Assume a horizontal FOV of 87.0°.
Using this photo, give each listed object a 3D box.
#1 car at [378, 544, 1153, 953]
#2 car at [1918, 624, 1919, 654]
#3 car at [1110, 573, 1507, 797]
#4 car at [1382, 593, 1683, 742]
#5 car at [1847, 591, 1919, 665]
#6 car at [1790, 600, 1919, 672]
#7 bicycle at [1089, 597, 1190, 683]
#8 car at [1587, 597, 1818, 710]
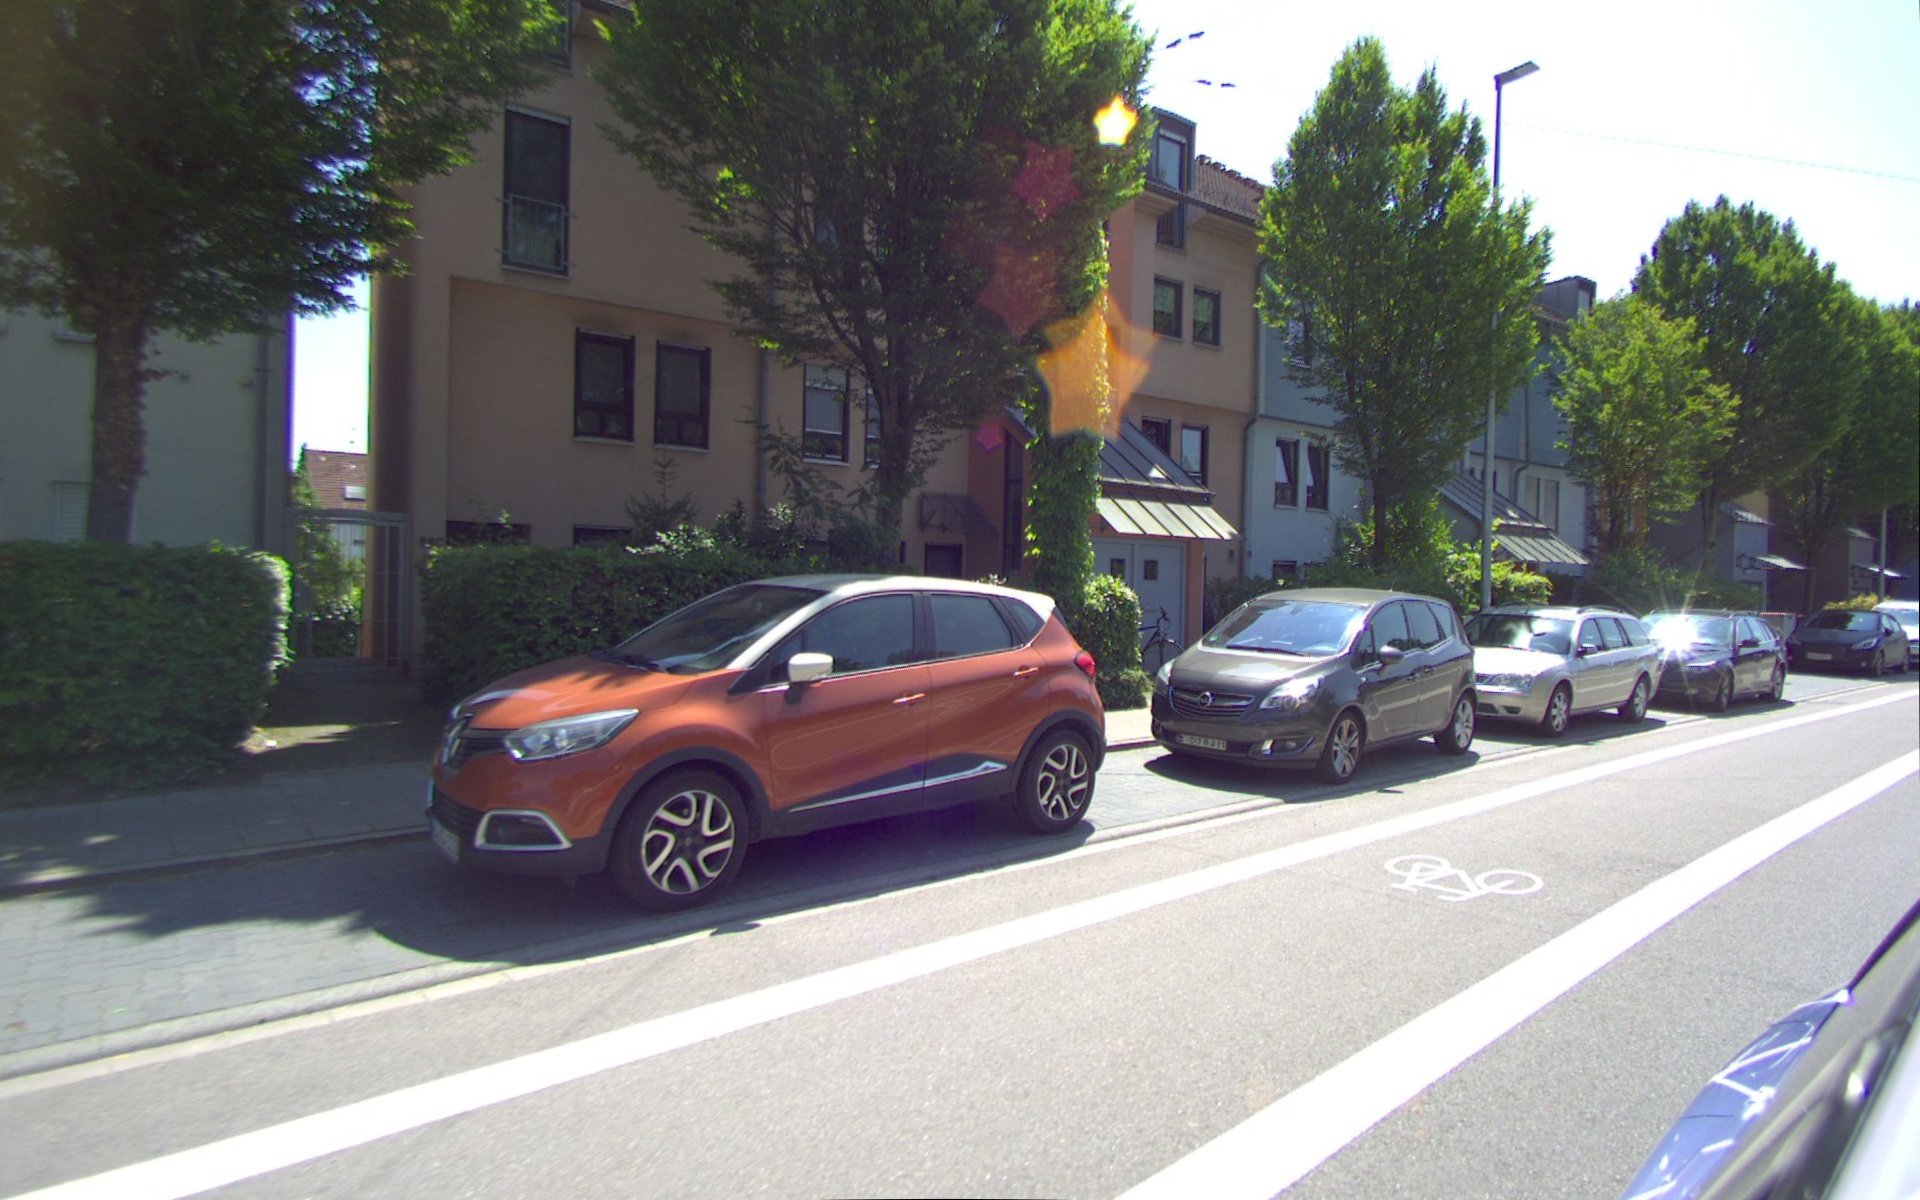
[{"bbox_3d":[-0.877,0.568,6.055,4.249,1.581,1.710,1,3,-42],"label":"car"},{"bbox_3d":[30.365,0.760,30.105,4.271,1.816,1.848,1,3,-35],"label":"car"},{"bbox_3d":[3.445,0.619,9.550,4.251,1.581,1.709,0,3,-43],"label":"car"},{"bbox_3d":[7.476,0.742,13.014,4.645,1.511,1.712,1,3,-39],"label":"car"},{"bbox_3d":[25.180,0.730,26.383,4.685,1.715,1.848,1,3,-34],"label":"car"},{"bbox_3d":[21.010,0.802,23.564,4.102,1.440,1.589,1,3,-37],"label":"car"},{"bbox_3d":[2.597,0.552,14.807,0.504,1.154,1.654,1,1,-29],"label":"bicycle"},{"bbox_3d":[12.269,0.785,16.588,4.946,1.511,1.712,1,3,-38],"label":"car"}]
